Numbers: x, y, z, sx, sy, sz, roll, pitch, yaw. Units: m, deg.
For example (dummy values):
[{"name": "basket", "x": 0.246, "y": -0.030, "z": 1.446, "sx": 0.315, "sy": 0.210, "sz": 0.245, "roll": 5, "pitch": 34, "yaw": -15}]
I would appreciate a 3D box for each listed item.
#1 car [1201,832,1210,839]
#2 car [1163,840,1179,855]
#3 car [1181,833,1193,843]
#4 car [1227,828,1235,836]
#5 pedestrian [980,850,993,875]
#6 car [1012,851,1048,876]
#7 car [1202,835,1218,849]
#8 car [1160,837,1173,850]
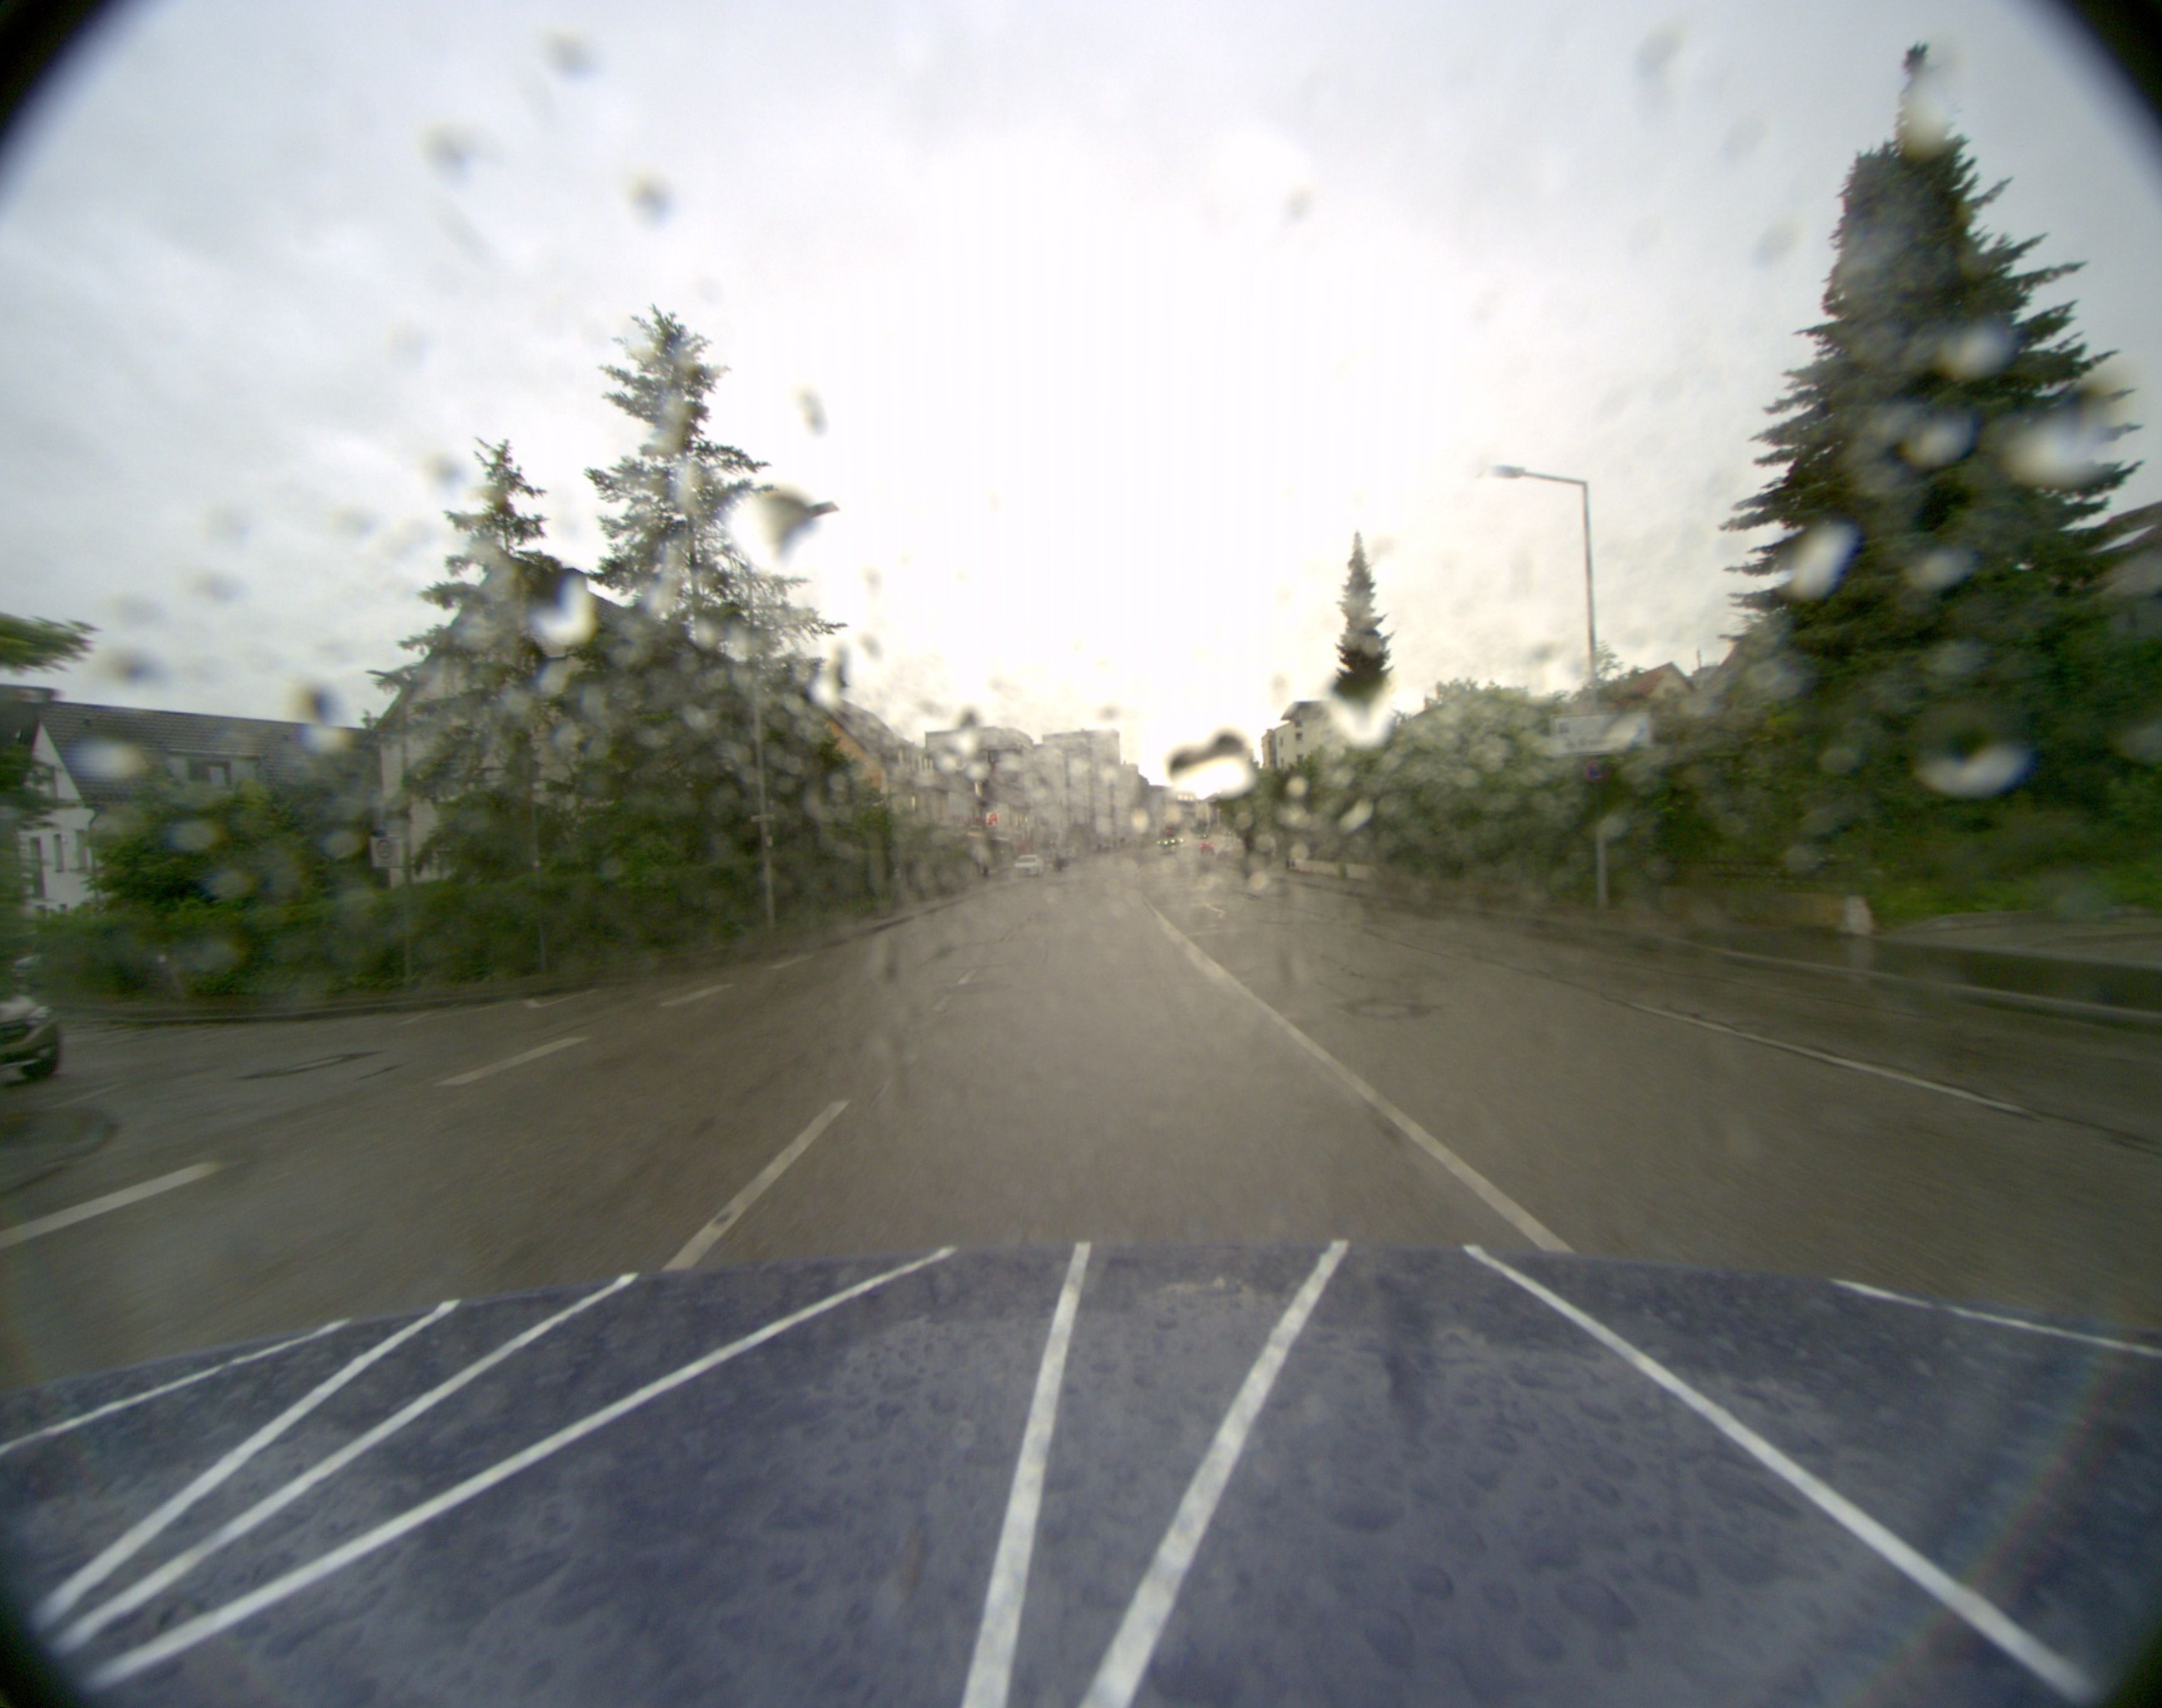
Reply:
[{"name": "car", "x": 30.340, "y": -4.492, "z": 184.656, "sx": 1.850, "sy": 1.753, "sz": 4.125, "roll": -2, "pitch": 0, "yaw": 14}, {"name": "car", "x": 12.223, "y": -0.910, "z": 103.428, "sx": 1.851, "sy": 1.870, "sz": 4.122, "roll": -3, "pitch": 1, "yaw": 5}, {"name": "car", "x": 18.660, "y": -2.793, "z": 133.834, "sx": 1.851, "sy": 1.753, "sz": 4.124, "roll": -3, "pitch": 0, "yaw": 10}, {"name": "car", "x": 38.620, "y": -5.606, "z": 195.455, "sx": 1.850, "sy": 1.753, "sz": 4.125, "roll": -2, "pitch": 0, "yaw": 14}, {"name": "pedestrian", "x": -6.398, "y": 0.588, "z": 51.354, "sx": 0.696, "sy": 1.622, "sz": 0.621, "roll": -3, "pitch": 1, "yaw": -1}, {"name": "car", "x": -3.509, "y": 0.623, "z": 53.053, "sx": 1.912, "sy": 1.622, "sz": 3.703, "roll": -3, "pitch": 0, "yaw": 5}, {"name": "car", "x": 16.985, "y": -1.562, "z": 99.892, "sx": 1.997, "sy": 1.606, "sz": 4.003, "roll": -3, "pitch": 0, "yaw": 11}, {"name": "car", "x": 12.406, "y": -1.474, "z": 110.470, "sx": 1.851, "sy": 1.753, "sz": 4.123, "roll": -3, "pitch": 0, "yaw": 6}]
